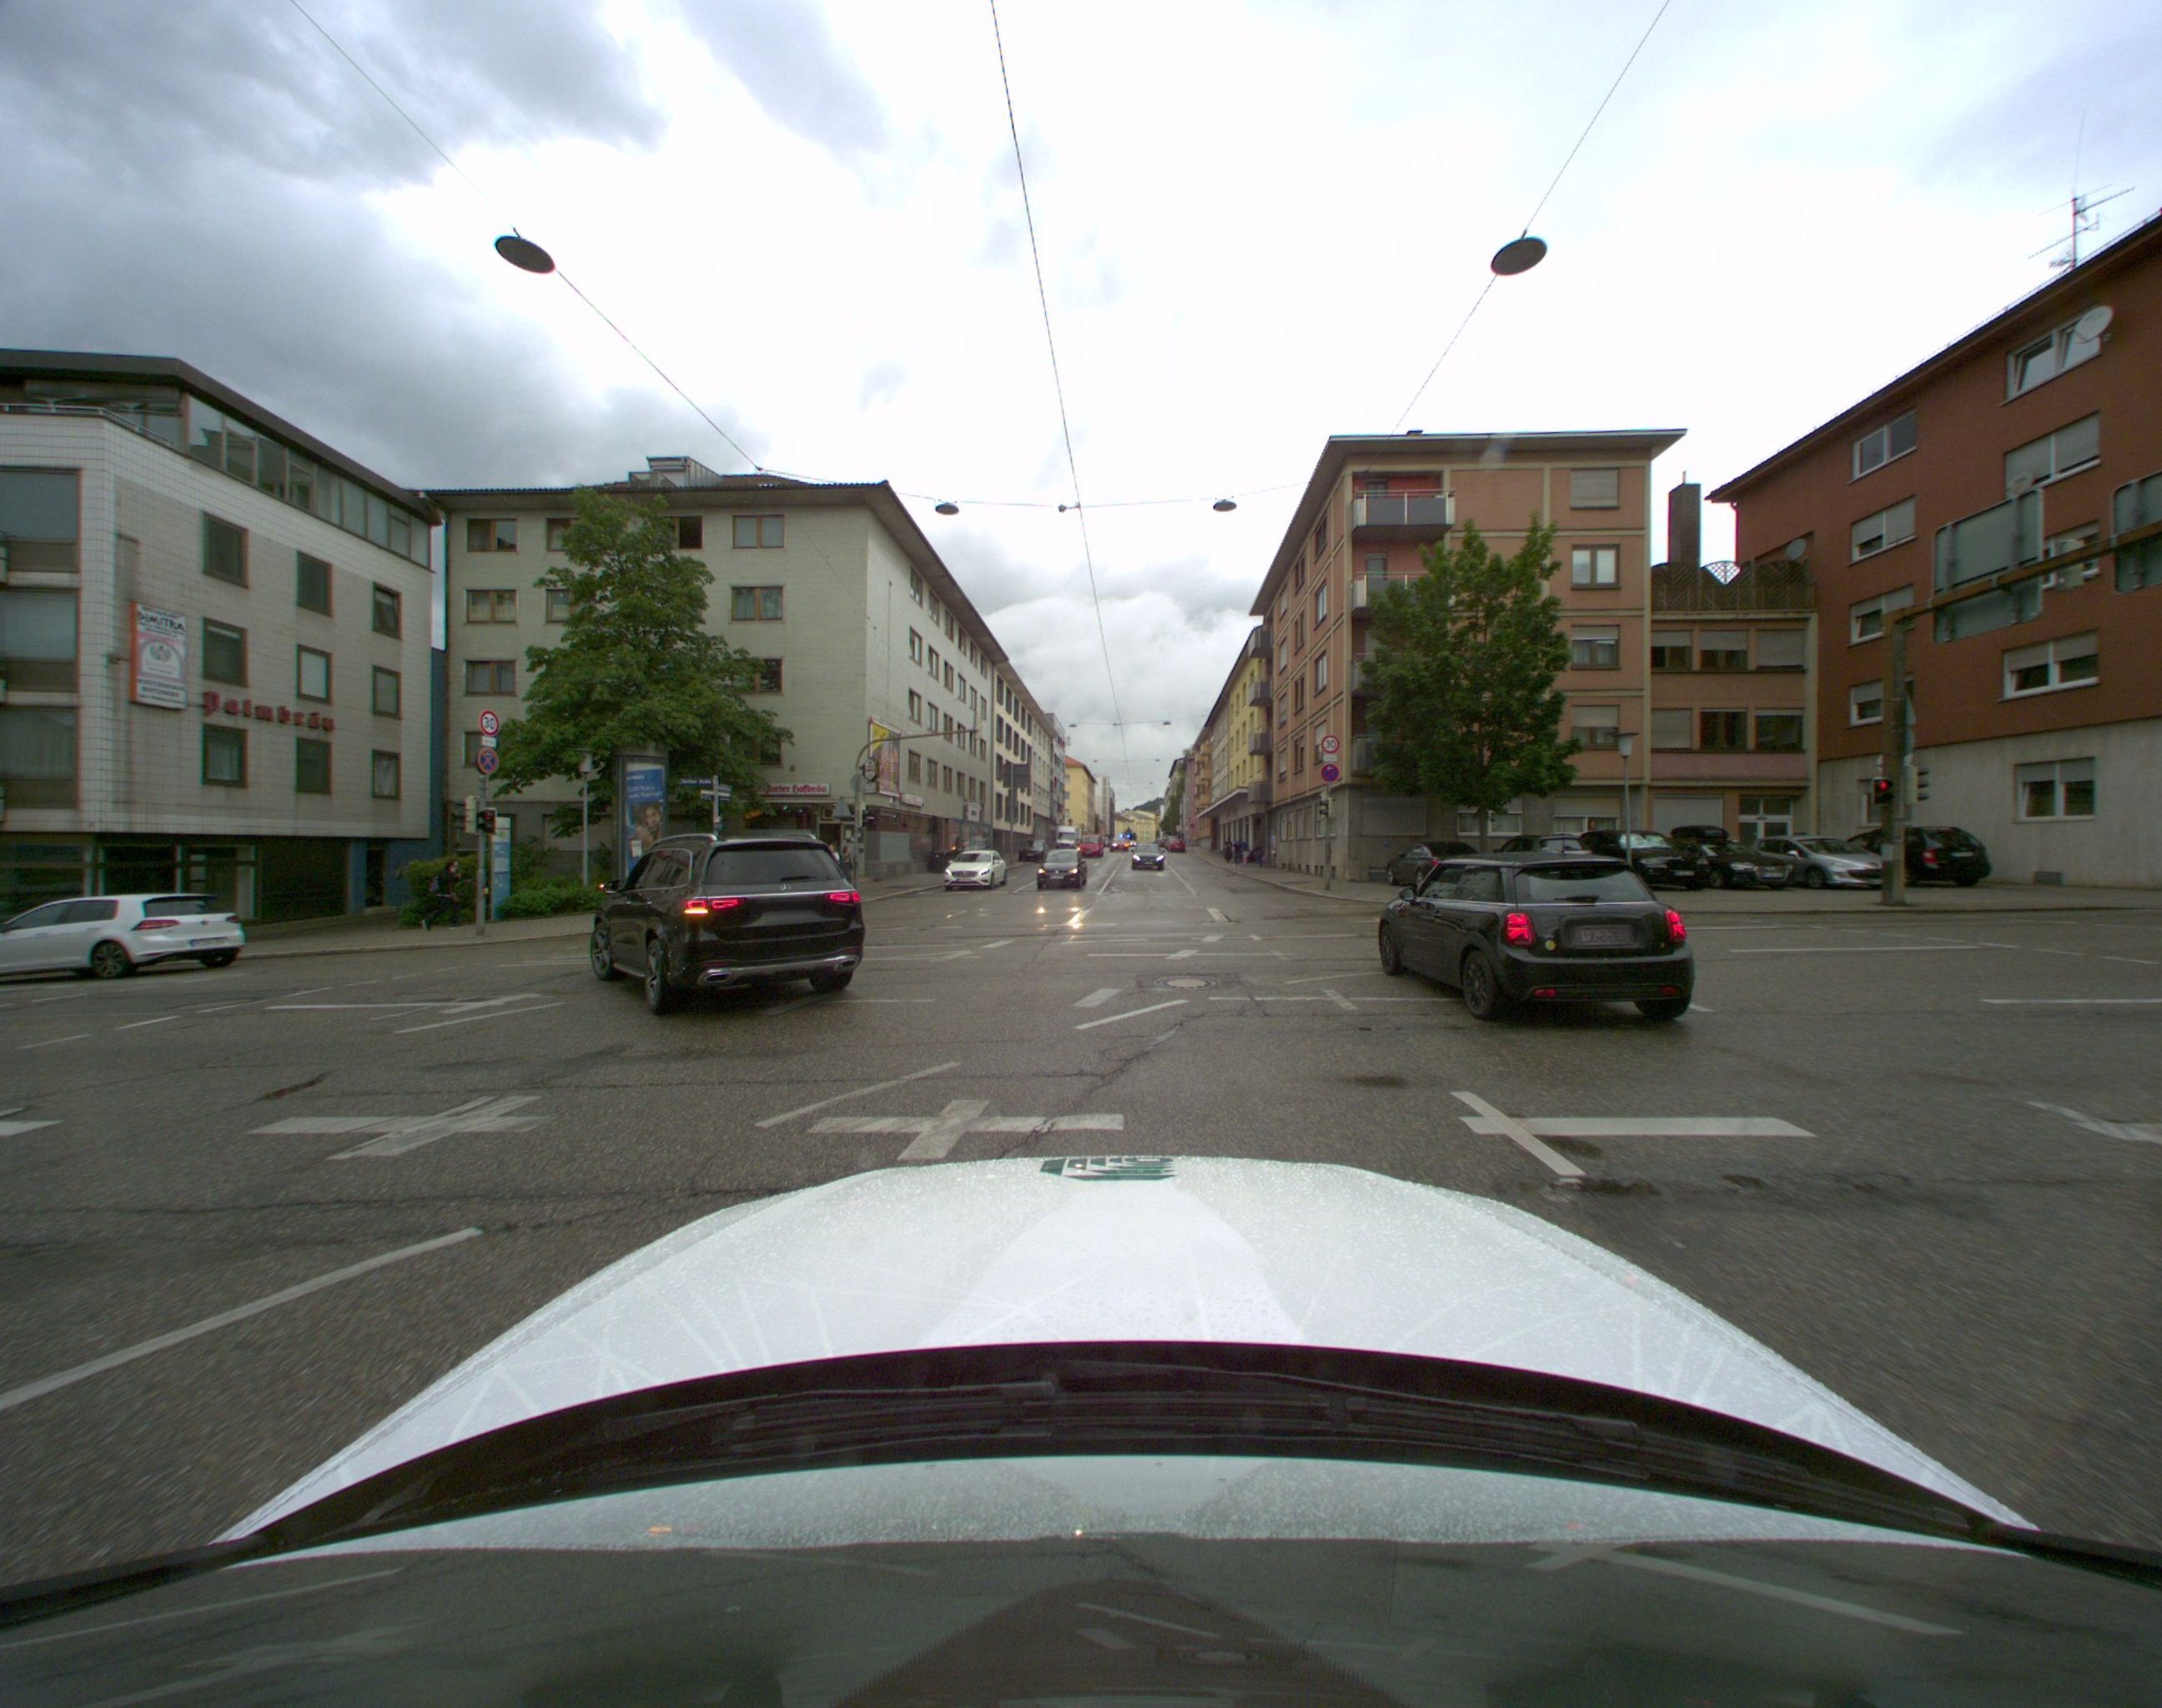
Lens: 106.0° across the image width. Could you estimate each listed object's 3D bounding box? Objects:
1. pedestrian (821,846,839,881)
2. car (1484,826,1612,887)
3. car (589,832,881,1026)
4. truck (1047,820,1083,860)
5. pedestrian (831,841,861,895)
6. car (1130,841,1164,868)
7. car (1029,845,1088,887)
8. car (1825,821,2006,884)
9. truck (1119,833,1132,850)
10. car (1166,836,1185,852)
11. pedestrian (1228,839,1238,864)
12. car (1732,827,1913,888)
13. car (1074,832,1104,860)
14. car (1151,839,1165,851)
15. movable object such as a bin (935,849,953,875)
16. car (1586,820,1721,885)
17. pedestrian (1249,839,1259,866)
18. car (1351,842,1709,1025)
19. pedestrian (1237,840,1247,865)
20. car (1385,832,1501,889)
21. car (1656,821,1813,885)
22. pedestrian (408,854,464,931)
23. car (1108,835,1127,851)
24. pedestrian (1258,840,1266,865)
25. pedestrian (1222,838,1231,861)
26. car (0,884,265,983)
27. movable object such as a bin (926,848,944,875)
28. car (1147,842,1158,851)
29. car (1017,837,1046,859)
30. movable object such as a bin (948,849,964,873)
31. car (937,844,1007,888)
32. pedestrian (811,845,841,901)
[{"bbox_3d":[-10.110,0.387,32.841,0.517,1.400,0.578,1,-1,0],"label":"pedestrian"},{"bbox_3d":[13.967,0.071,24.659,1.976,1.660,4.009,-1,0,7],"label":"car"},{"bbox_3d":[-4.387,0.693,9.810,2.037,1.739,4.693,-2,0,-38],"label":"car"},{"bbox_3d":[-1.662,-1.401,86.792,2.793,3.833,8.156,1,-1,6],"label":"truck"},{"bbox_3d":[-7.505,0.436,25.980,0.712,1.647,0.751,0,3,-33],"label":"pedestrian"},{"bbox_3d":[3.773,0.048,46.952,1.836,1.489,4.004,-1,0,4],"label":"car"},{"bbox_3d":[-0.806,0.431,31.812,1.836,1.489,4.005,-1,0,4],"label":"car"},{"bbox_3d":[24.370,-0.007,24.024,1.979,1.706,4.016,1,-1,15],"label":"car"},{"bbox_3d":[10.928,-2.934,200.584,2.793,3.833,8.156,1,-1,6],"label":"truck"},{"bbox_3d":[10.523,-1.124,90.791,2.005,1.563,5.163,1,-1,6],"label":"car"},{"bbox_3d":[9.449,-0.169,50.677,0.518,1.538,0.570,1,3,4],"label":"pedestrian"},{"bbox_3d":[21.464,0.132,23.818,1.664,1.582,3.998,1,-1,-1],"label":"car"},{"bbox_3d":[0.716,-0.614,68.835,2.055,2.241,4.626,-1,0,5],"label":"car"},{"bbox_3d":[11.588,-1.329,122.603,2.005,1.563,4.007,1,-1,6],"label":"car"},{"bbox_3d":[-7.034,0.420,41.844,0.694,1.315,0.783,1,-1,2],"label":"movable object such as a bin"},{"bbox_3d":[16.673,-0.037,23.978,1.972,1.719,4.016,-2,0,15],"label":"car"},{"bbox_3d":[10.168,-0.107,47.808,0.477,1.566,0.558,1,3,4],"label":"pedestrian"},{"bbox_3d":[4.237,0.607,8.508,1.653,1.420,4.075,-1,1,3],"label":"car"},{"bbox_3d":[10.009,-0.089,50.576,0.518,1.518,0.570,1,3,4],"label":"pedestrian"},{"bbox_3d":[11.023,0.178,25.215,1.835,1.554,4.803,-1,0,5],"label":"car"},{"bbox_3d":[19.158,-0.041,24.136,1.785,1.698,4.008,1,0,7],"label":"car"},{"bbox_3d":[-16.060,0.937,20.292,0.906,1.817,0.760,0,3,31],"label":"pedestrian"},{"bbox_3d":[3.982,-1.185,88.729,1.835,1.674,4.005,-1,0,5],"label":"car"},{"bbox_3d":[10.619,-0.083,47.785,0.362,1.398,0.370,1,3,4],"label":"pedestrian"},{"bbox_3d":[10.349,-0.319,57.818,0.518,1.556,0.570,1,3,4],"label":"pedestrian"},{"bbox_3d":[-17.979,1.451,14.905,4.344,1.461,1.838,-4,0,4],"label":"car"},{"bbox_3d":[-7.157,0.356,39.983,0.694,1.315,0.783,1,-1,2],"label":"movable object such as a bin"},{"bbox_3d":[13.837,-1.509,156.581,2.005,1.563,4.007,1,-1,6],"label":"car"},{"bbox_3d":[-3.753,-0.443,62.165,1.716,1.603,4.003,-1,0,3],"label":"car"},{"bbox_3d":[-6.843,0.382,44.556,0.694,1.315,0.783,1,-1,2],"label":"movable object such as a bin"},{"bbox_3d":[-4.096,0.432,31.307,1.836,1.512,4.005,-1,0,4],"label":"car"},{"bbox_3d":[-7.891,0.570,25.188,0.712,1.647,0.751,0,3,-33],"label":"pedestrian"}]
